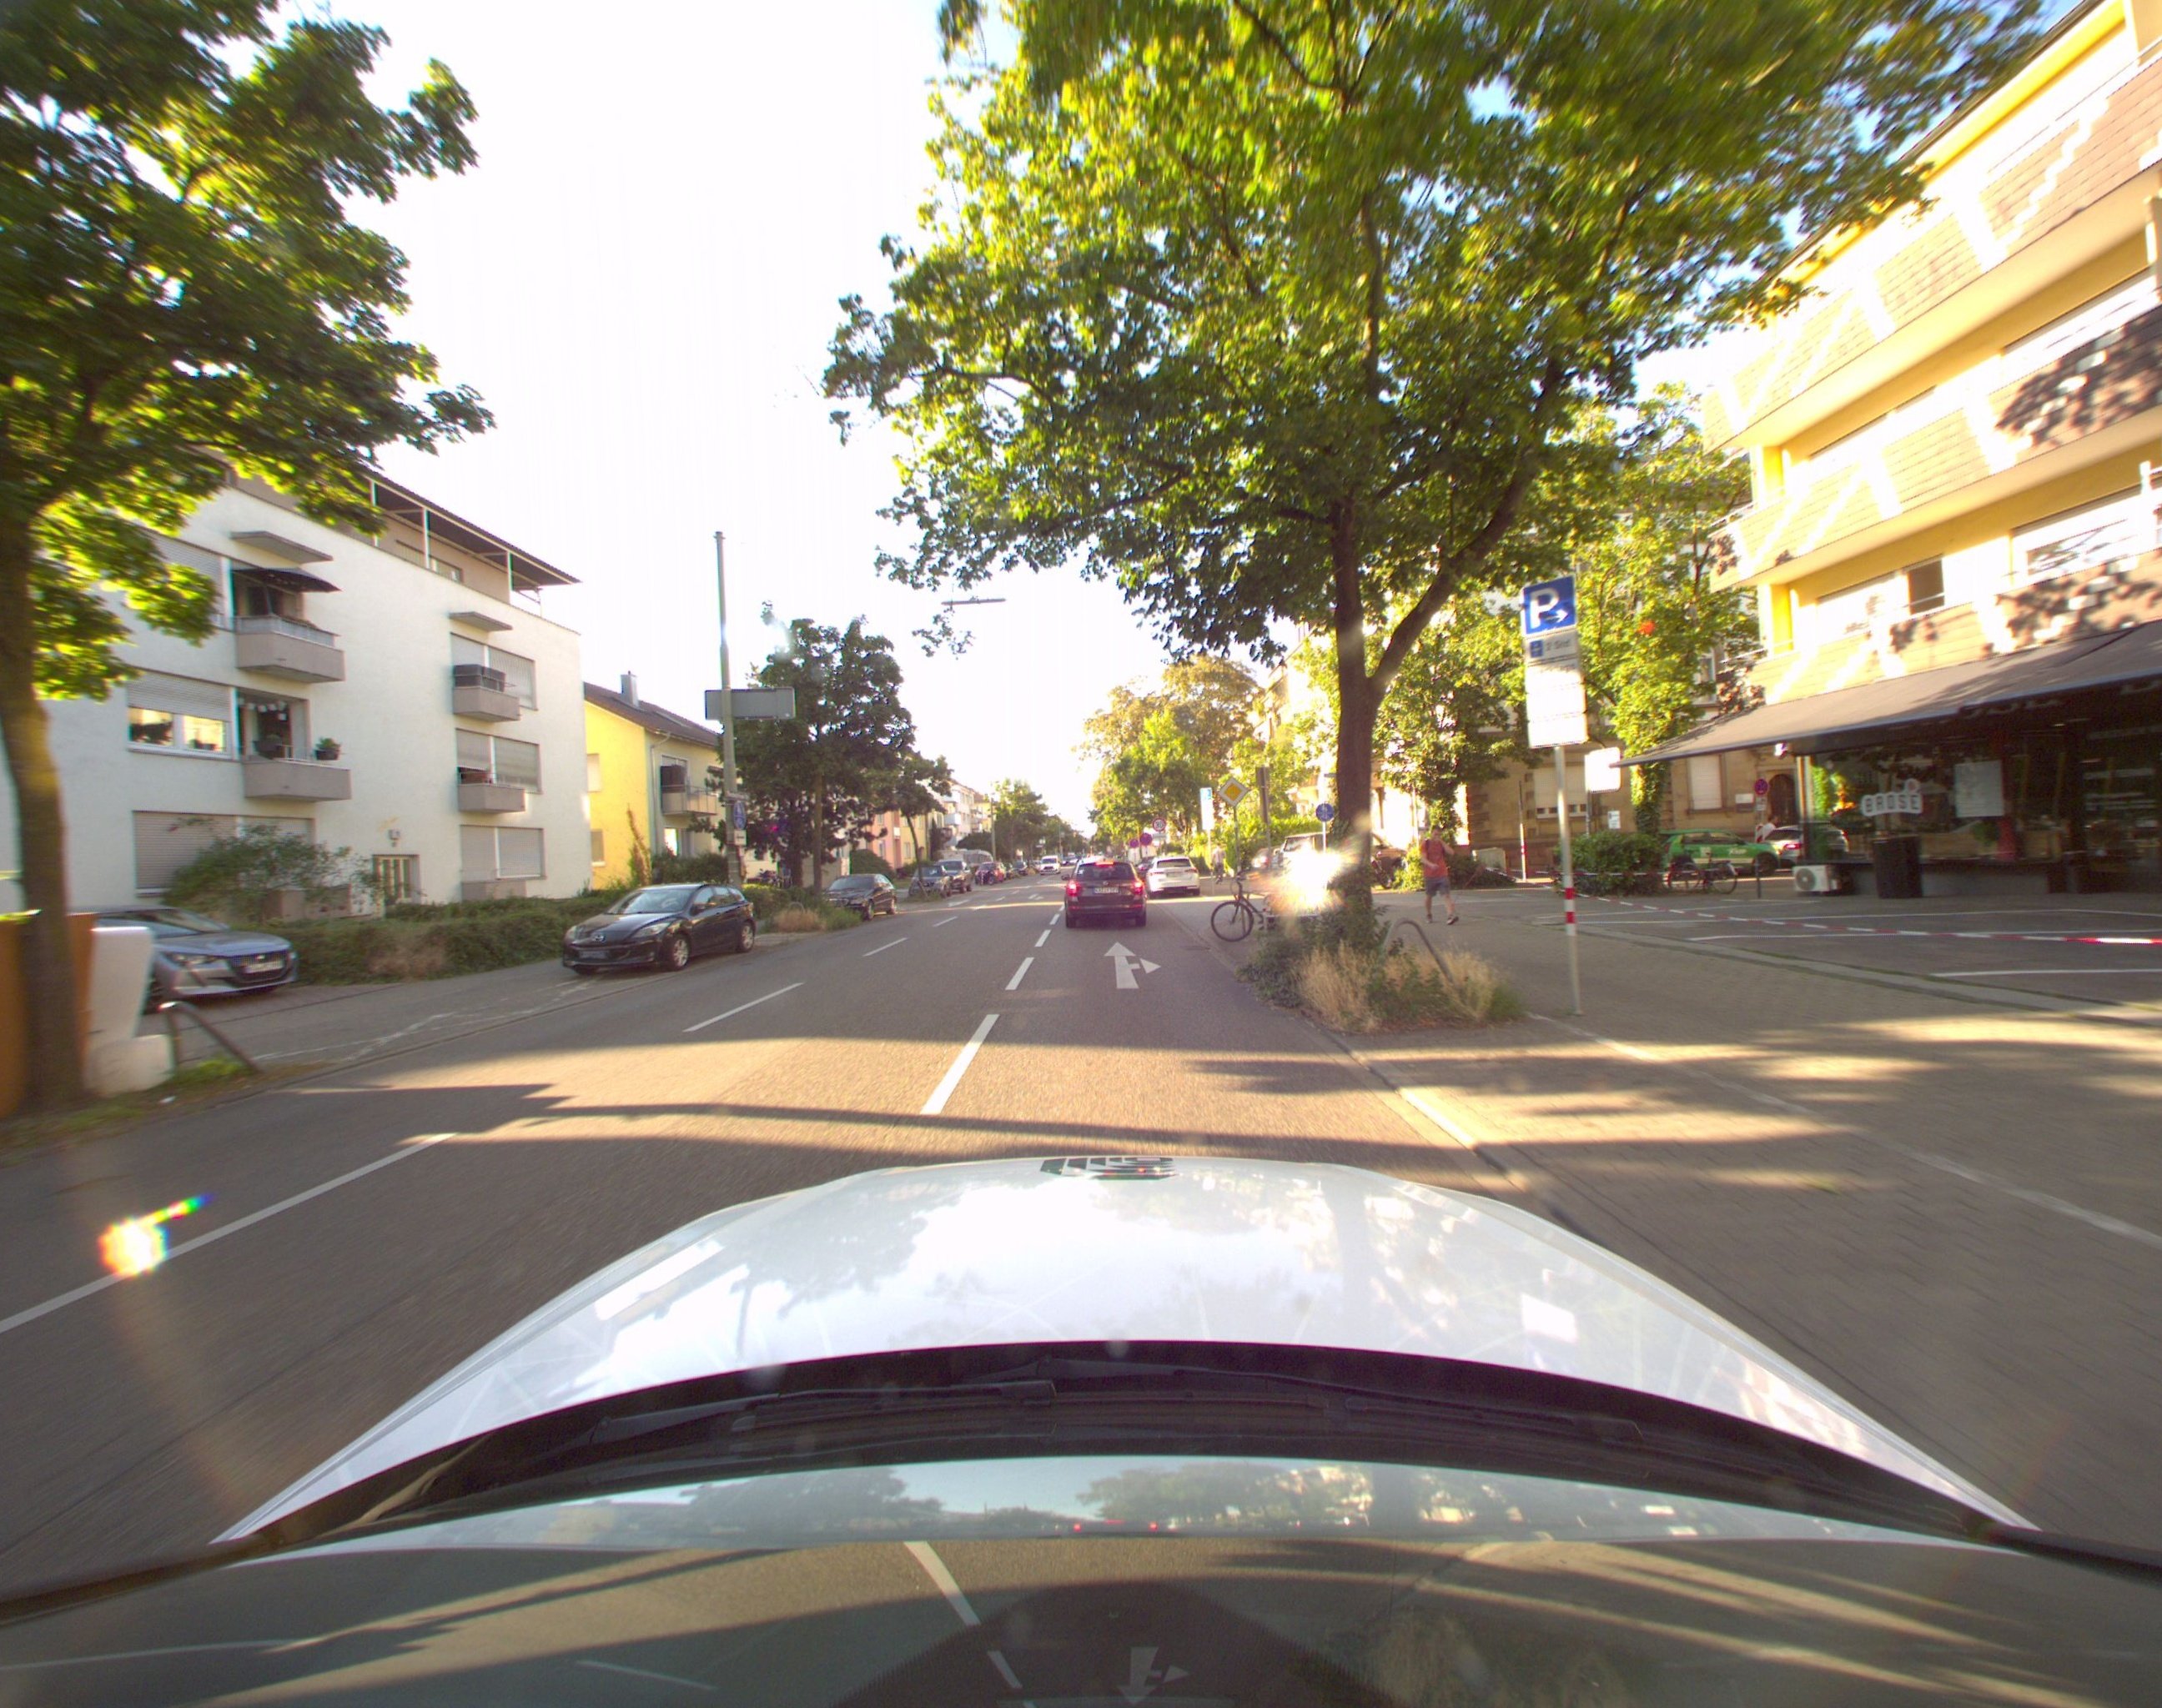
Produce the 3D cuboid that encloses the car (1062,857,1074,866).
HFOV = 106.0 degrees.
[{"bbox_3d":[-2.318,1.291,148.650,1.986,1.508,4.001,-3,0,1],"label":"car"}]

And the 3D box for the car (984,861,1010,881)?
[{"bbox_3d":[-6.669,1.344,64.920,1.658,1.432,3.276,-3,0,1],"label":"car"}]

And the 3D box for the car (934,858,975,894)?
[{"bbox_3d":[-6.793,1.157,43.933,1.502,1.757,3.694,-3,0,1],"label":"car"}]

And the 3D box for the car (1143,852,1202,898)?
[{"bbox_3d":[3.225,0.692,29.265,1.813,1.413,4.114,-3,0,3],"label":"car"}]

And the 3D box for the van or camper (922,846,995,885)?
[{"bbox_3d":[-13.587,1.238,90.520,7.618,3.874,1.999,-3,0,-1],"label":"van or camper"}]

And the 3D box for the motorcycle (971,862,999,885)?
[{"bbox_3d":[-6.400,1.305,54.281,0.771,1.512,2.006,-3,0,-42],"label":"motorcycle"}]

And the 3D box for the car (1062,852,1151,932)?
[{"bbox_3d":[0.573,0.766,18.303,1.723,1.493,3.952,-3,0,2],"label":"car"}]

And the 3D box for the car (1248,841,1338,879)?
[{"bbox_3d":[9.706,0.262,37.288,3.814,1.525,1.501,-3,0,-21],"label":"car"}]

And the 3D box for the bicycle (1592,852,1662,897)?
[{"bbox_3d":[12.207,0.450,18.250,0.341,0.950,1.579,-5,0,-4],"label":"bicycle"}]

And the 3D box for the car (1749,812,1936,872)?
[{"bbox_3d":[23.503,-0.358,25.255,3.903,1.585,1.930,-3,0,1],"label":"car"}]

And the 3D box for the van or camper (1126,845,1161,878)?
[{"bbox_3d":[4.032,0.454,53.164,1.986,2.013,4.001,-3,0,1],"label":"van or camper"}]

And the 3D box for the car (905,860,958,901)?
[{"bbox_3d":[-7.155,1.240,39.269,1.744,1.740,3.591,-3,0,1],"label":"car"}]

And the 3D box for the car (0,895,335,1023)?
[{"bbox_3d":[-13.688,1.455,11.678,3.978,1.479,1.998,-2,0,-3],"label":"car"}]

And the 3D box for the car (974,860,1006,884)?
[{"bbox_3d":[-6.575,1.289,59.229,1.658,1.512,4.179,-3,0,1],"label":"car"}]

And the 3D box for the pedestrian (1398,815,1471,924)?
[{"bbox_3d":[6.122,0.252,14.155,0.754,1.796,0.905,-3,0,-4],"label":"pedestrian"}]

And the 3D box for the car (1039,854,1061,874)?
[{"bbox_3d":[-2.988,0.914,79.088,1.870,1.757,4.179,-3,0,1],"label":"car"}]

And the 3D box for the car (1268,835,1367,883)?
[{"bbox_3d":[9.462,0.197,32.551,3.823,1.679,1.498,-3,0,-29],"label":"car"}]

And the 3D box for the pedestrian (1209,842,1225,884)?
[{"bbox_3d":[5.980,0.375,35.822,0.533,1.794,0.688,-3,0,3],"label":"pedestrian"}]

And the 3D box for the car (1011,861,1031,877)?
[{"bbox_3d":[-5.940,1.452,80.610,1.658,1.432,3.276,-3,0,1],"label":"car"}]

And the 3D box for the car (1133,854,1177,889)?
[{"bbox_3d":[3.379,0.763,37.751,1.813,1.413,4.114,-3,0,3],"label":"car"}]

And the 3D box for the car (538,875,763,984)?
[{"bbox_3d":[-7.594,1.236,14.917,1.711,1.497,4.249,-3,0,1],"label":"car"}]

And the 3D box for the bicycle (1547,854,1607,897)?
[{"bbox_3d":[11.448,0.488,18.843,0.341,0.950,1.579,0,-1,-4],"label":"bicycle"}]

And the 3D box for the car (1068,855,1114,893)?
[{"bbox_3d":[0.385,0.822,36.079,1.725,1.493,3.947,-3,0,-3],"label":"car"}]

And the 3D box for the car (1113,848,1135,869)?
[{"bbox_3d":[4.042,0.385,76.465,1.724,1.815,3.950,-3,0,0],"label":"car"}]

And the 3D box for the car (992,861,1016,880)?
[{"bbox_3d":[-6.550,1.369,69.465,1.658,1.432,3.276,-3,0,1],"label":"car"}]

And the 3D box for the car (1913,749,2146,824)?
[{"bbox_3d":[21.659,-1.515,18.694,3.334,1.418,1.661,-3,0,1],"label":"car"}]

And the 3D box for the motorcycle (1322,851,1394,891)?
[{"bbox_3d":[8.705,0.529,25.590,2.047,1.125,0.524,-3,0,-5],"label":"motorcycle"}]

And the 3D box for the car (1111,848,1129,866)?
[{"bbox_3d":[4.243,0.310,88.959,1.724,1.815,3.950,-3,0,0],"label":"car"}]

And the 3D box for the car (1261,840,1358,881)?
[{"bbox_3d":[9.870,0.265,35.164,3.814,1.525,1.501,-3,0,-21],"label":"car"}]

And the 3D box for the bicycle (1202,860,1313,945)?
[{"bbox_3d":[2.916,0.799,13.507,1.659,1.226,0.638,-5,0,13],"label":"bicycle"}]

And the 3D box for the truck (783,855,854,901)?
[{"bbox_3d":[-13.094,1.160,40.762,2.904,2.093,1.546,-3,0,0],"label":"truck"}]

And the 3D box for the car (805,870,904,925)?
[{"bbox_3d":[-7.114,1.312,26.081,1.748,1.420,4.427,-3,0,2],"label":"car"}]

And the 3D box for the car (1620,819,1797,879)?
[{"bbox_3d":[19.186,-0.161,25.038,3.903,1.585,1.930,-3,0,1],"label":"car"}]

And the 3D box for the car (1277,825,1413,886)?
[{"bbox_3d":[9.474,0.044,29.169,4.558,1.892,1.898,-3,0,-27],"label":"car"}]
